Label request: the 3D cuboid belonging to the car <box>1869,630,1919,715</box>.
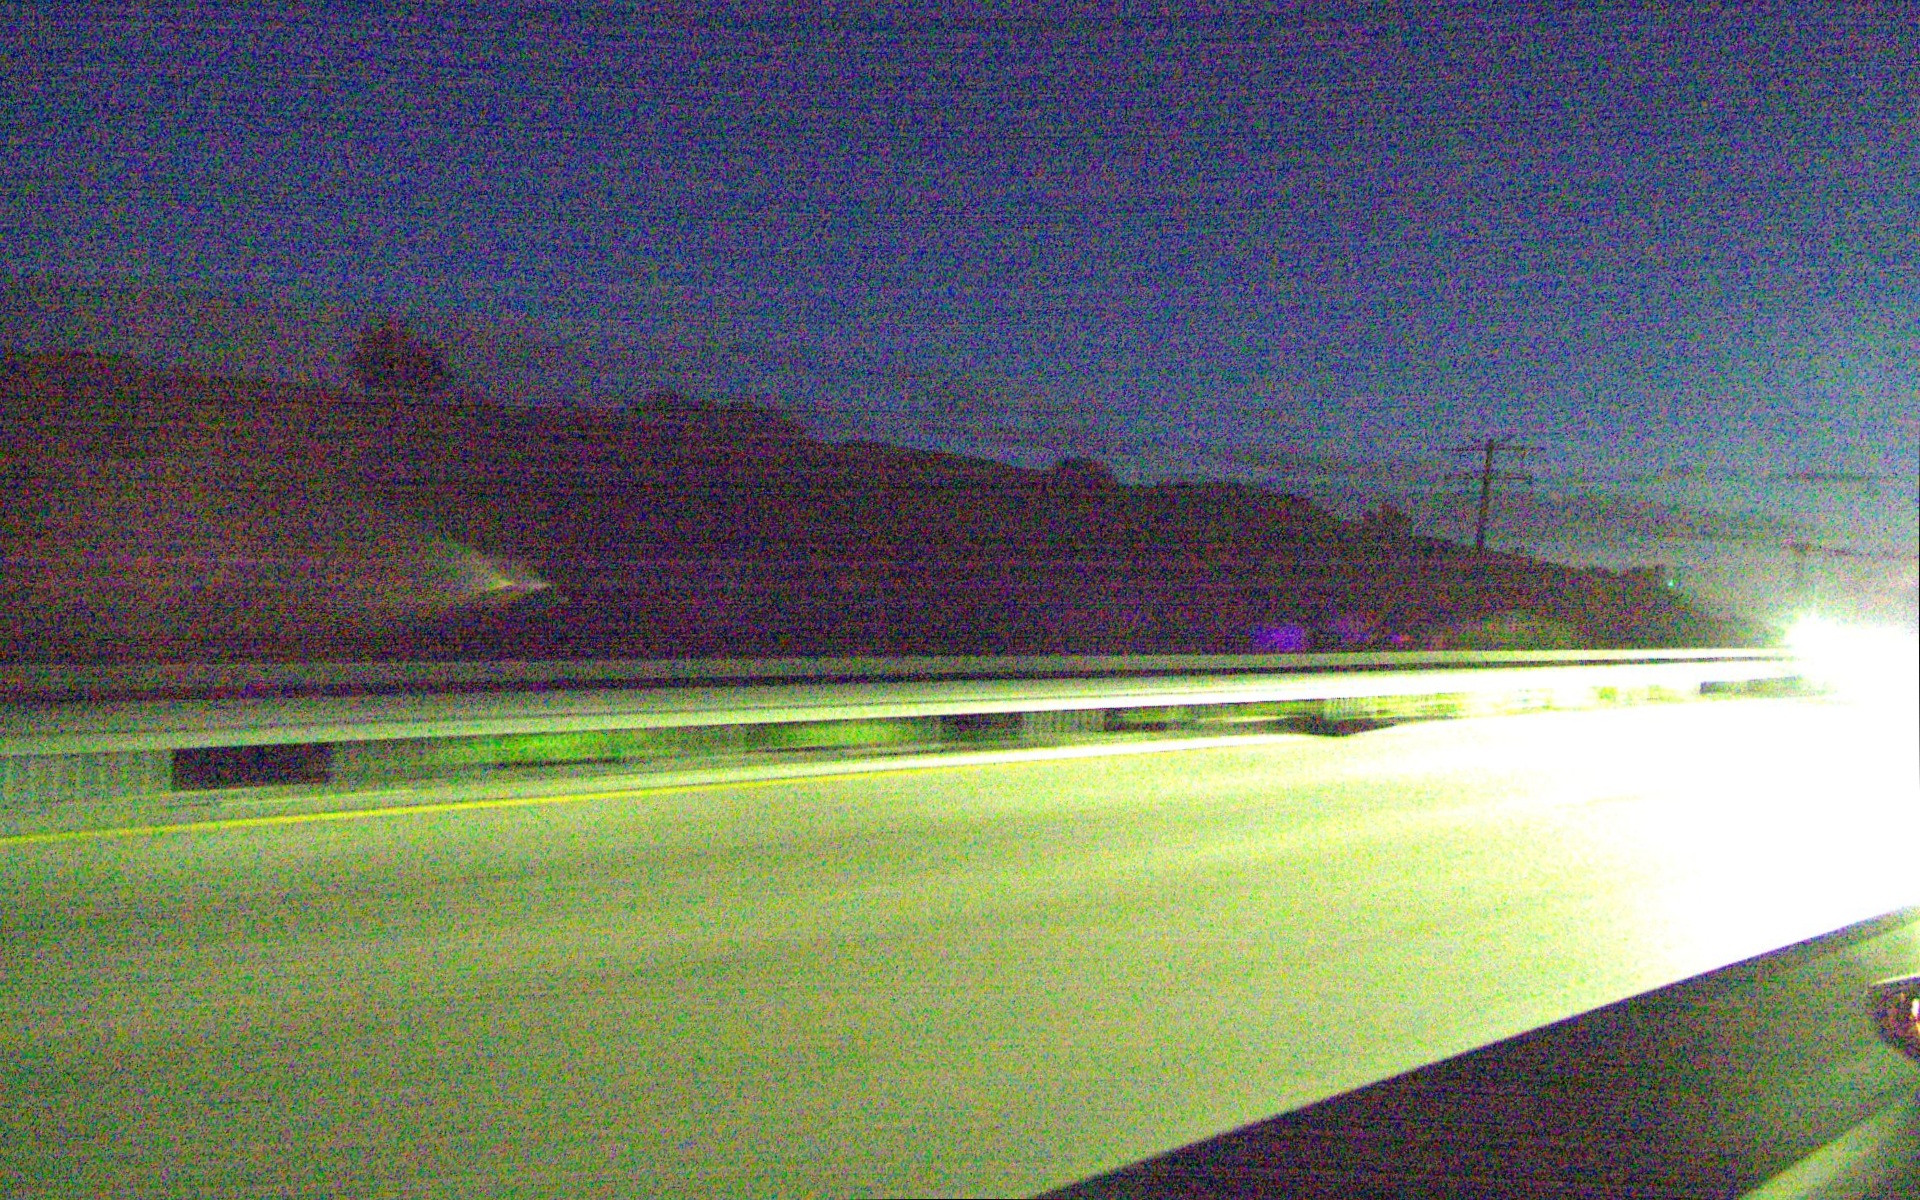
[{"bbox_3d":[18.614,1.339,18.511,4.439,1.462,1.702,3,-2,-33],"label":"car"}]
